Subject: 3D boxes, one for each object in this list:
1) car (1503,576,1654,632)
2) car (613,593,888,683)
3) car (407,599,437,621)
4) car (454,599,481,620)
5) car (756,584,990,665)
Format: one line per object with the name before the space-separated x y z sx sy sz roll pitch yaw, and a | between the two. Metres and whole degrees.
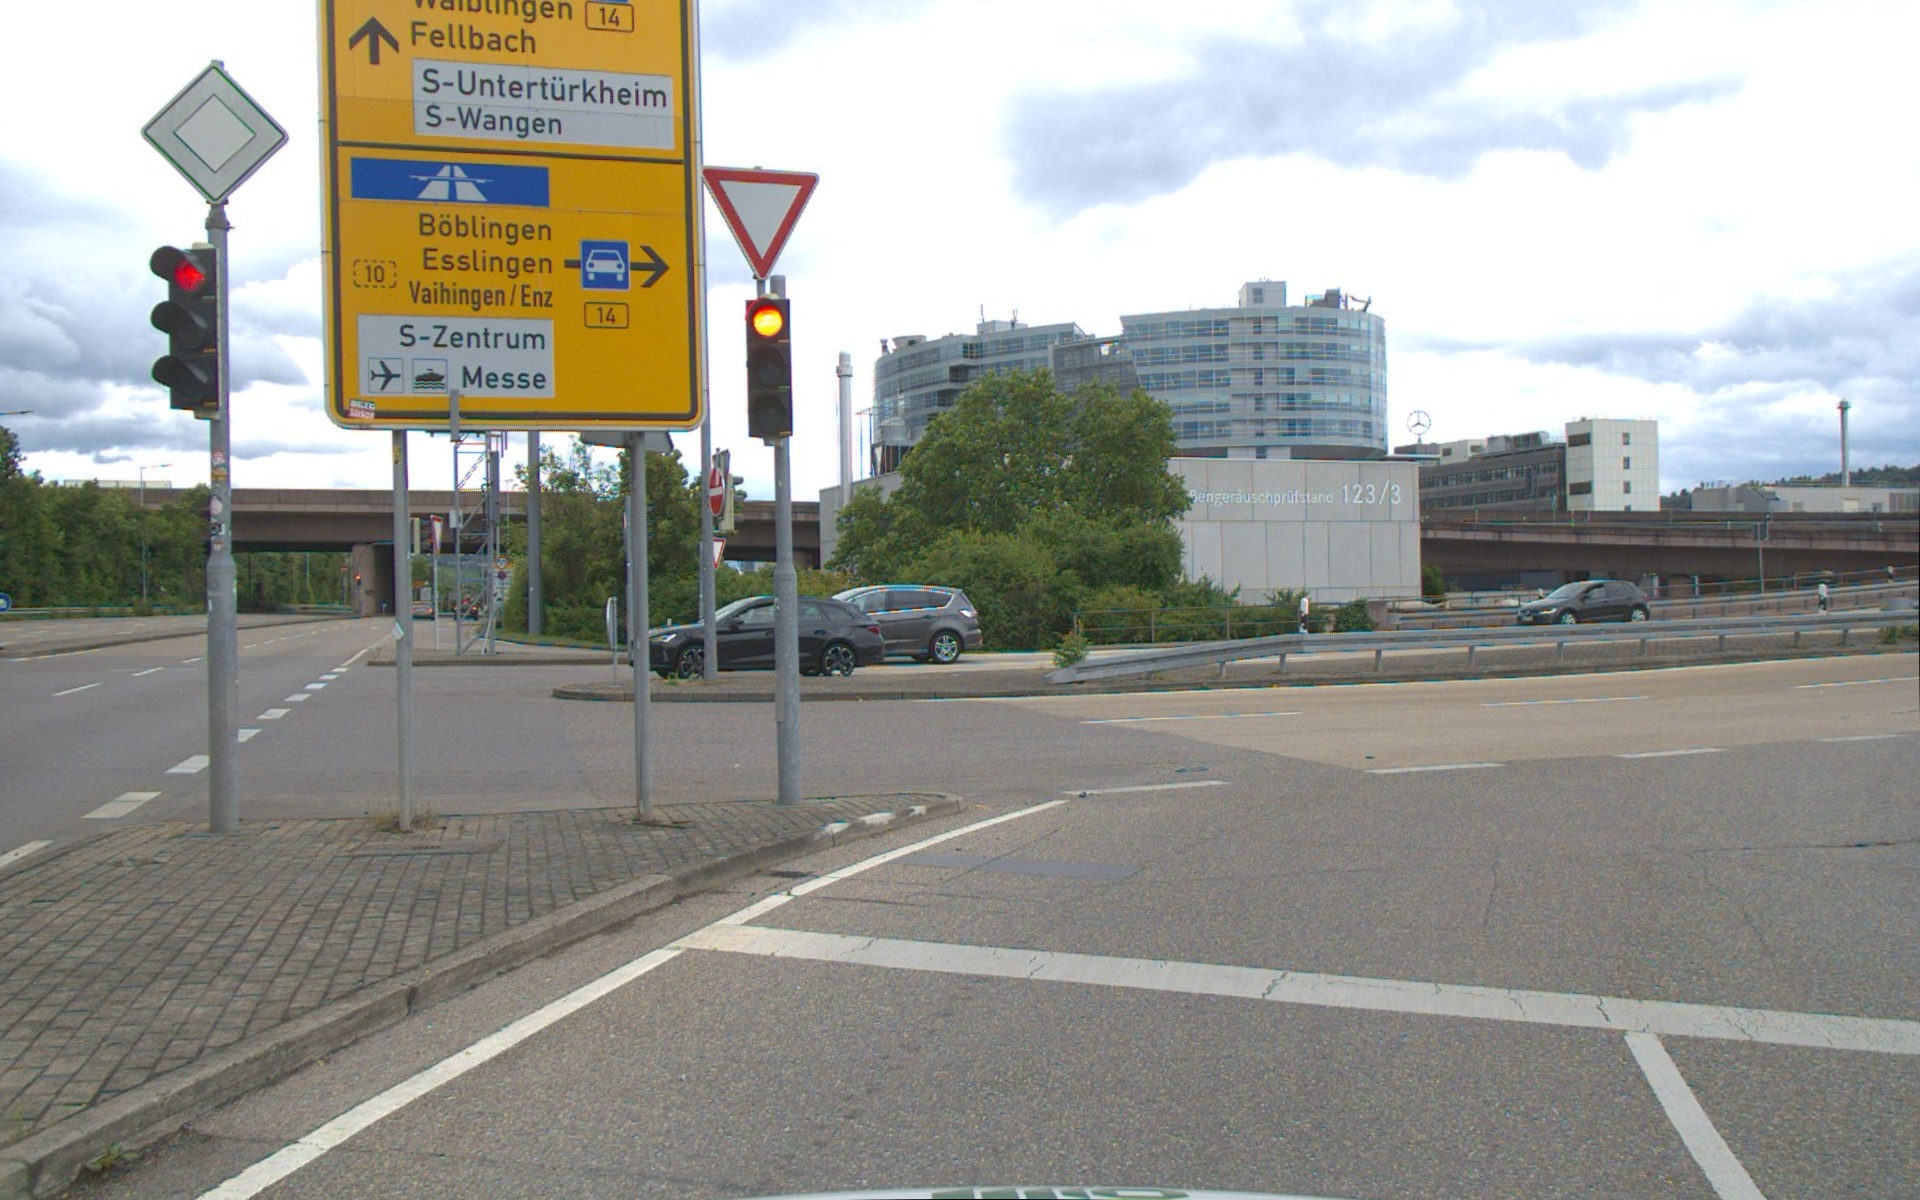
car | 18.312 0.083 49.001 3.922 1.446 1.905 -2 2 -20
car | -3.745 0.631 29.672 4.548 1.482 1.940 0 1 -26
car | -39.455 0.754 121.295 1.962 1.467 4.090 1 -2 -17
car | -38.244 0.747 128.298 1.962 1.490 4.090 1 -2 -17
car | -1.844 0.480 35.014 4.610 1.599 1.944 0 1 -21
